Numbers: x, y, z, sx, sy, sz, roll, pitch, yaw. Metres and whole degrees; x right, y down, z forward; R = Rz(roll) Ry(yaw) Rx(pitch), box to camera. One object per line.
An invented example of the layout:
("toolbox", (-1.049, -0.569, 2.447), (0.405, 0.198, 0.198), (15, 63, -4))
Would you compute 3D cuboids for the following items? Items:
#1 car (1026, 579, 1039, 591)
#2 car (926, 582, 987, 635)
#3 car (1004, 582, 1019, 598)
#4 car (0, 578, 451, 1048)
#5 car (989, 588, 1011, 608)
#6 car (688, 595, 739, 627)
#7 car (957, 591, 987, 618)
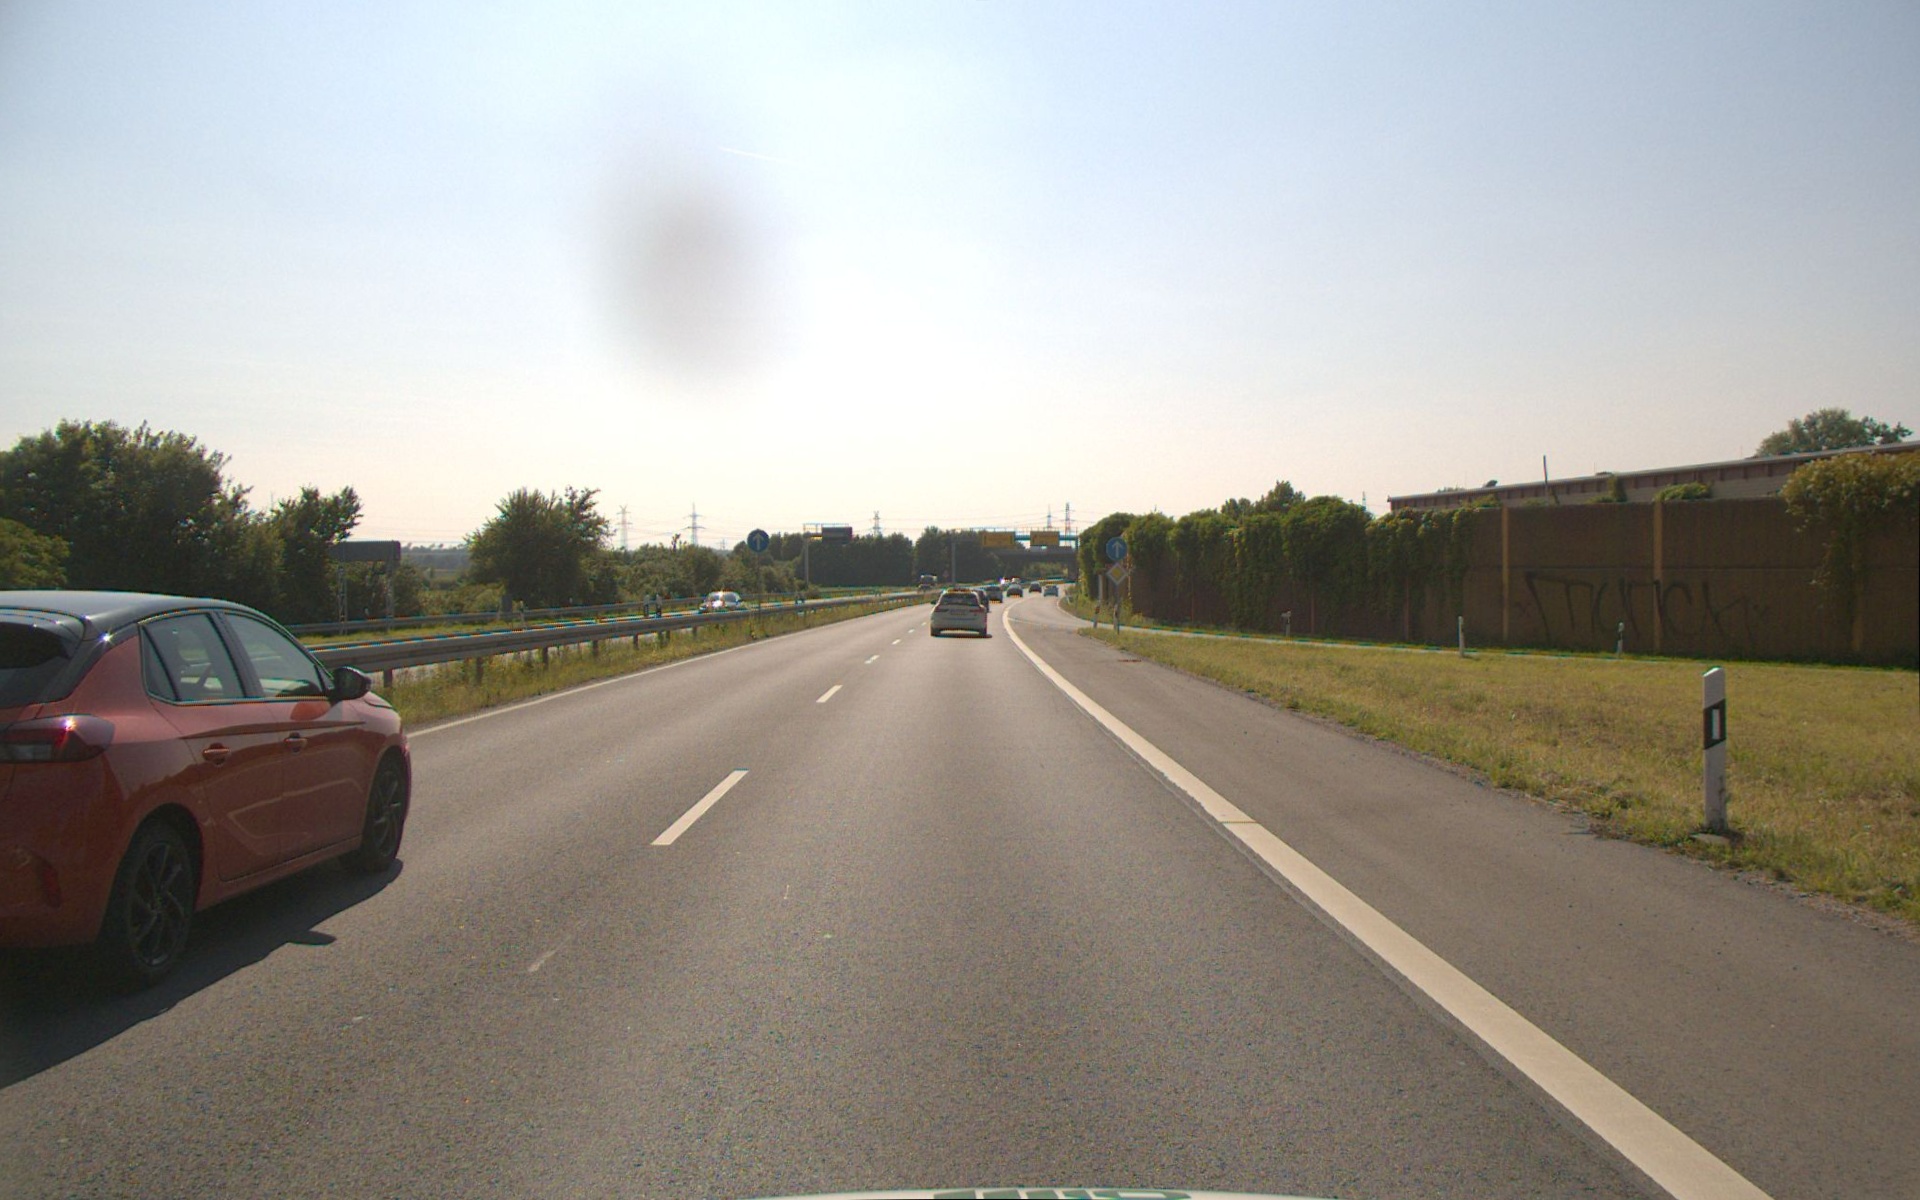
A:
("car", (10.771, -2.284, 245.850), (1.802, 1.728, 4.002), (1, 0, 5))
("car", (-0.116, 0.249, 54.935), (1.918, 1.629, 4.107), (1, 1, 0))
("car", (6.232, -1.186, 199.566), (1.803, 1.834, 4.001), (1, 0, 2))
("car", (-3.732, 0.679, 7.337), (1.674, 1.462, 4.410), (-1, 0, -2))
("car", (3.571, -0.161, 148.915), (1.731, 1.767, 3.634), (1, 0, 5))
("car", (-11.830, 0.519, 79.660), (1.763, 1.445, 4.676), (1, 0, 0))
("car", (0.761, 0.269, 102.218), (1.756, 1.570, 3.672), (1, 0, 1))
